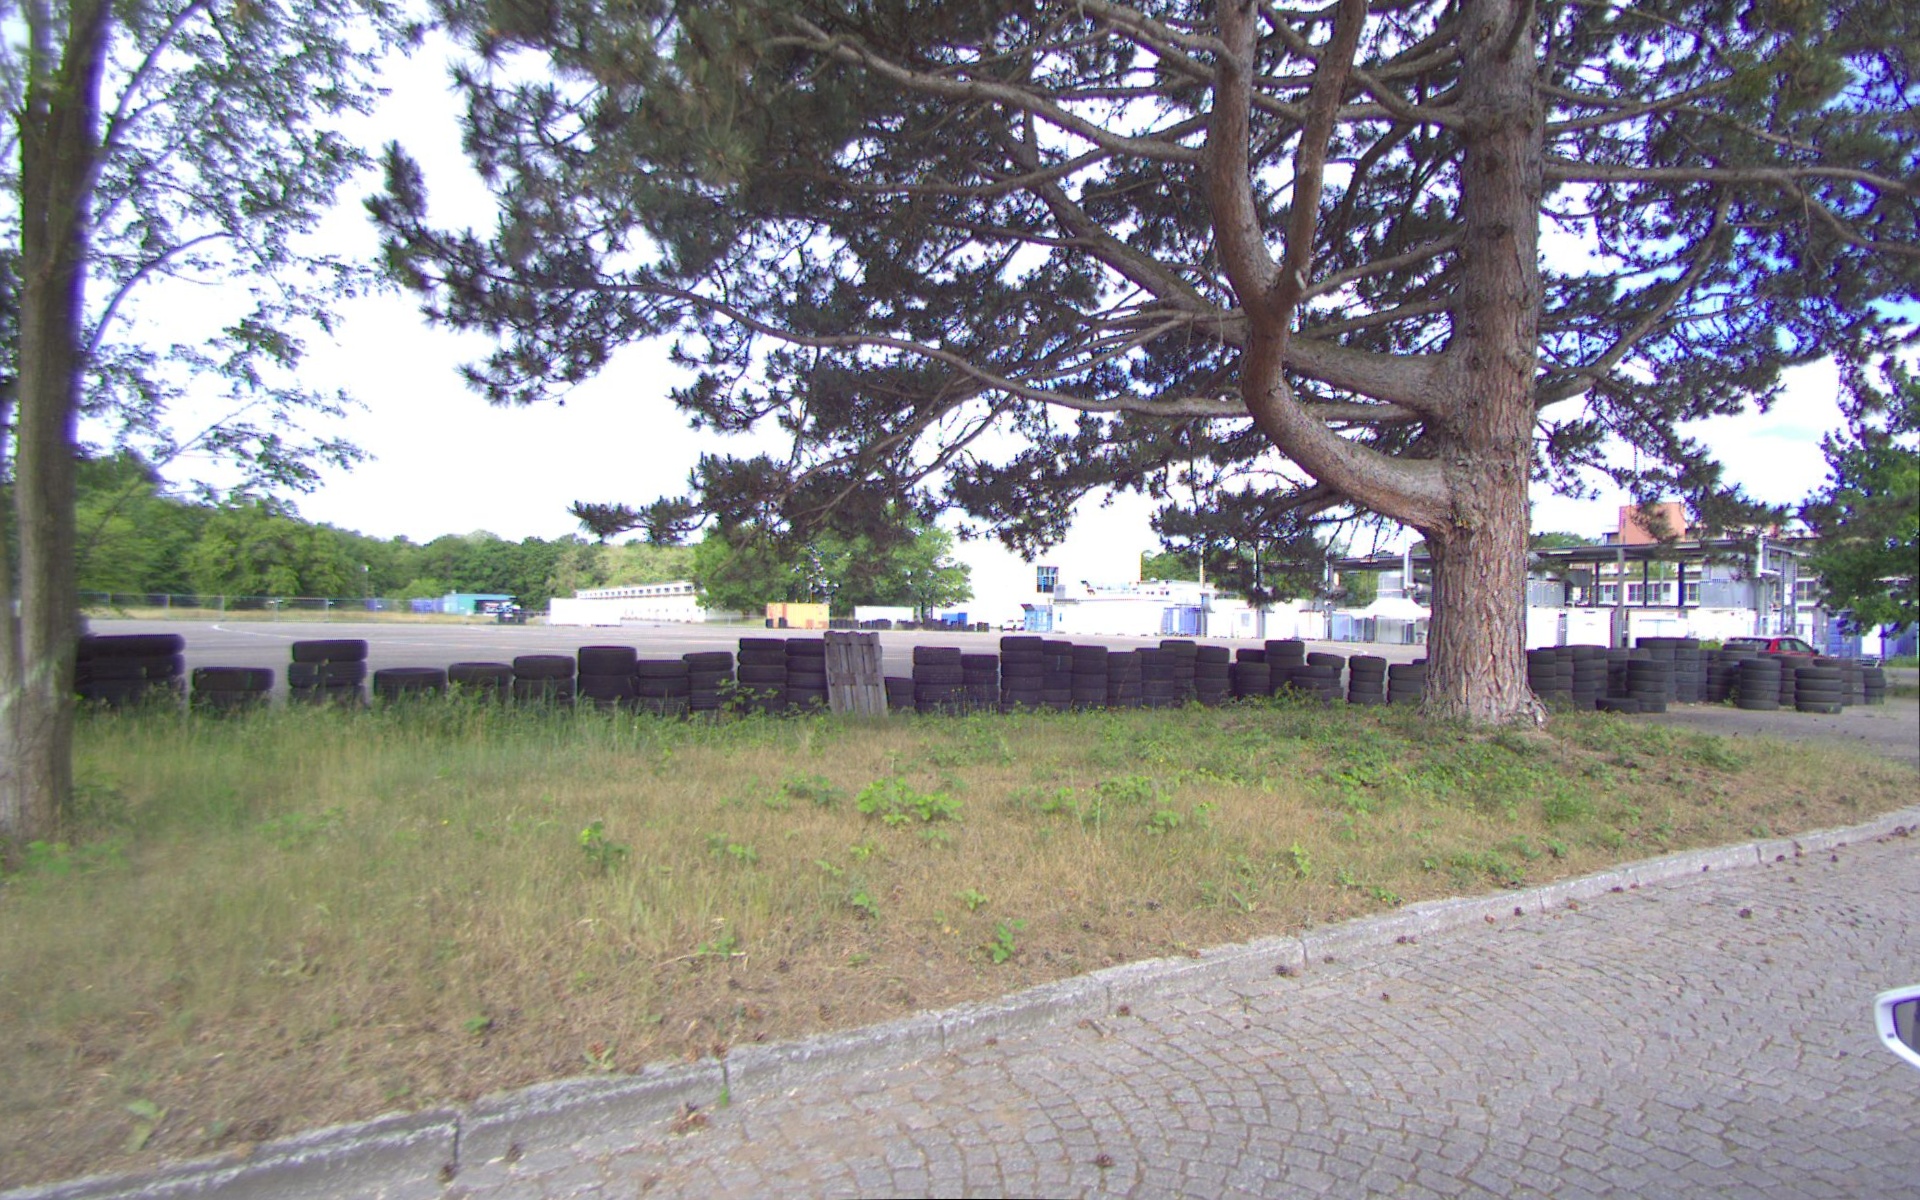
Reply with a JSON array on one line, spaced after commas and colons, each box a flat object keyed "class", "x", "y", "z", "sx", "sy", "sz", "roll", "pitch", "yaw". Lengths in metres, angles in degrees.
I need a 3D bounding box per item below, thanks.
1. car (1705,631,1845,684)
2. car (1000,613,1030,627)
[{"class": "car", "x": 23.900, "y": 1.645, "z": 29.441, "sx": 4.008, "sy": 1.452, "sz": 1.621, "roll": 1, "pitch": -1, "yaw": -25}, {"class": "car", "x": 6.708, "y": 2.434, "z": 123.890, "sx": 1.808, "sy": 1.655, "sz": 4.087, "roll": 2, "pitch": -1, "yaw": -29}]
